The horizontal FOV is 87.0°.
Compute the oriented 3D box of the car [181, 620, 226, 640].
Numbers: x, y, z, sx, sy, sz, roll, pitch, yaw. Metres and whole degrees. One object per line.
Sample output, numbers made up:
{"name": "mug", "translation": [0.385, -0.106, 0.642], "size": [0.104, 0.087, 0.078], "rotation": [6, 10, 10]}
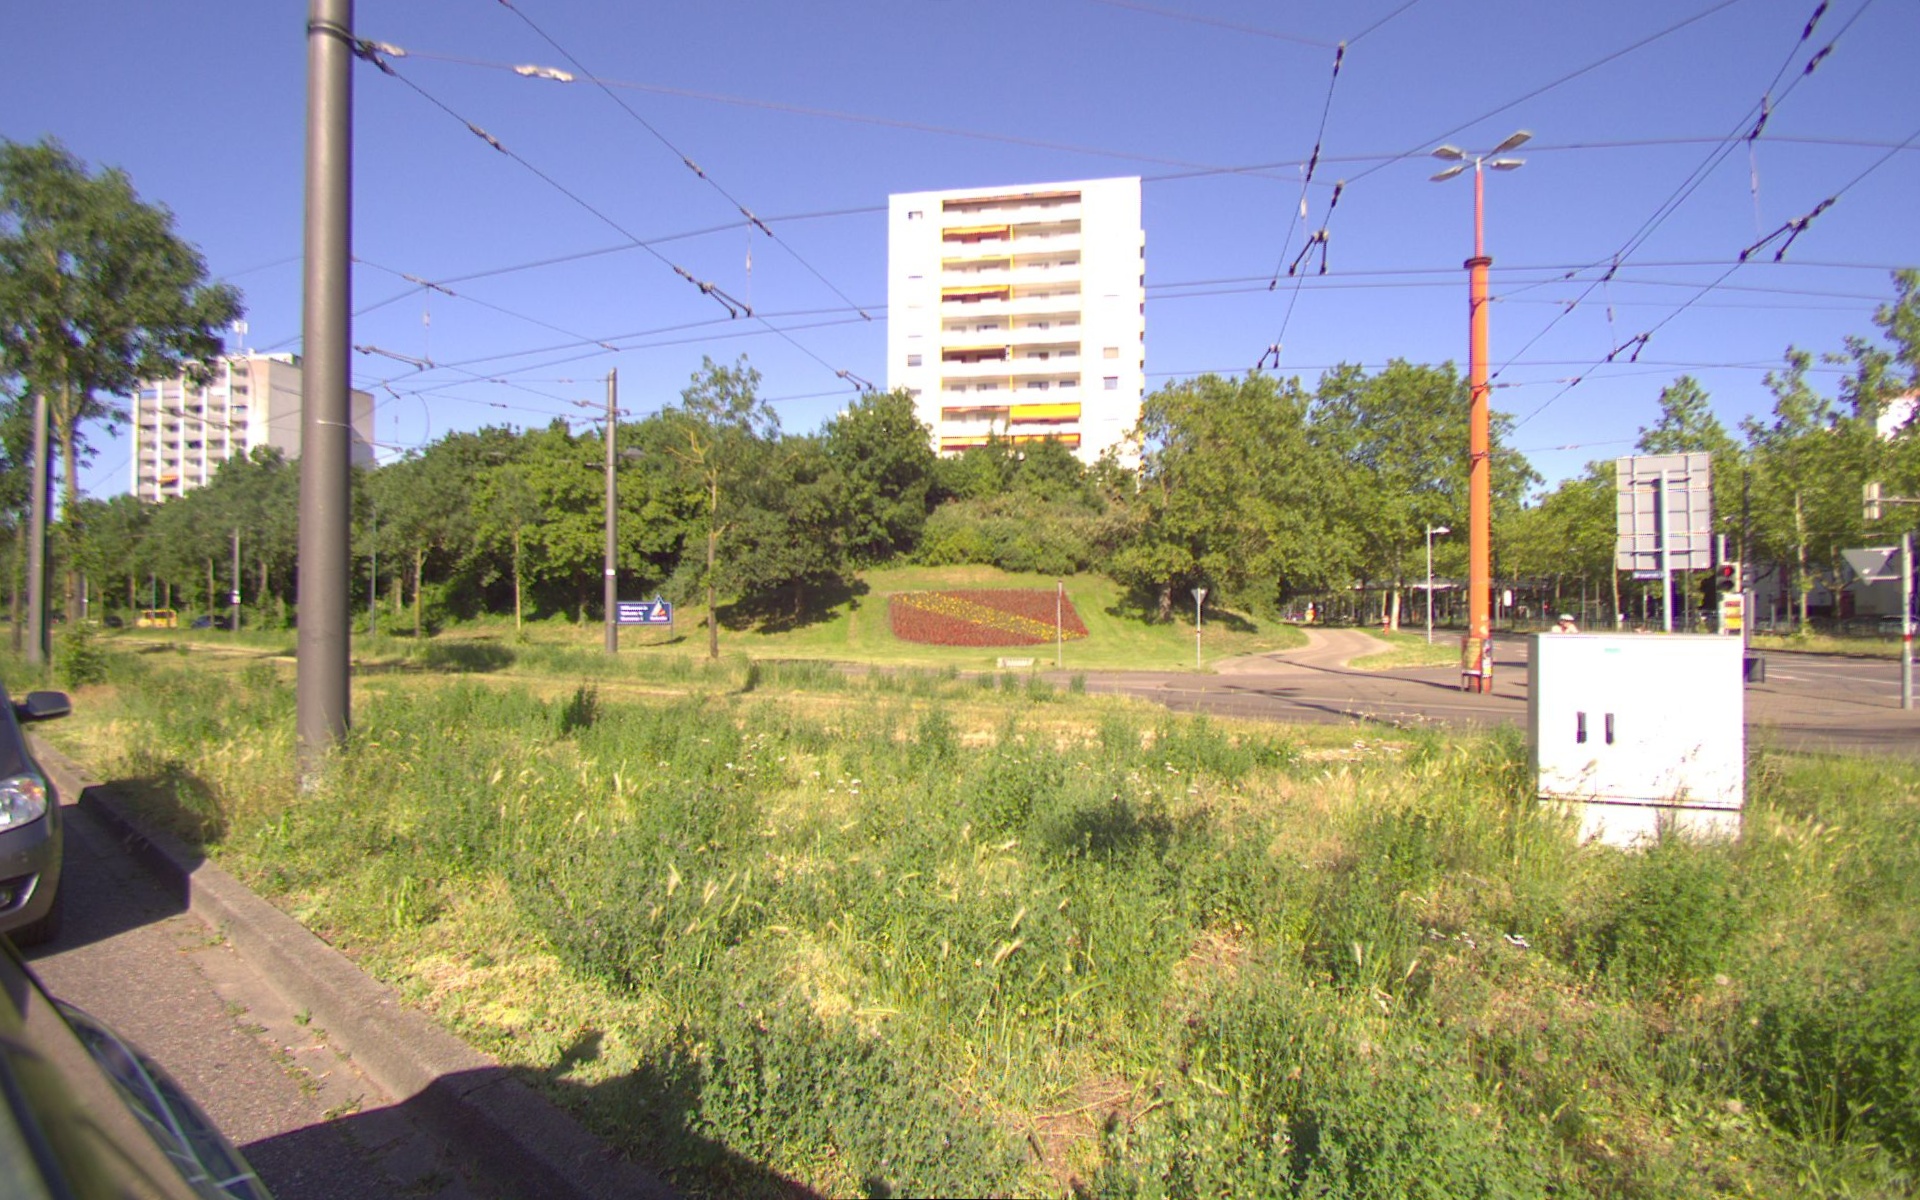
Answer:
{"name": "car", "translation": [-59.081, 2.331, 79.029], "size": [4.105, 1.586, 1.973], "rotation": [-1, -2, 41]}

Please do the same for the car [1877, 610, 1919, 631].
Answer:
{"name": "car", "translation": [64.887, 1.405, 68.407], "size": [1.770, 1.420, 4.010], "rotation": [1, -1, -36]}

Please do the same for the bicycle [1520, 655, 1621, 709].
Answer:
{"name": "bicycle", "translation": [12.192, 1.623, 20.266], "size": [0.673, 0.968, 1.650], "rotation": [0, -1, -20]}

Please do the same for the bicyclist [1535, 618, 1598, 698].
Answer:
{"name": "bicyclist", "translation": [12.169, 1.143, 20.326], "size": [0.719, 1.557, 0.770], "rotation": [0, -2, -20]}

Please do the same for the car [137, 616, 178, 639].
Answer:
{"name": "car", "translation": [-70.535, 2.432, 88.944], "size": [4.905, 1.981, 1.973], "rotation": [-1, -2, 41]}

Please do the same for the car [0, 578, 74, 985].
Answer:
{"name": "car", "translation": [-5.736, 0.749, 4.849], "size": [3.879, 1.634, 1.737], "rotation": [-1, -2, 41]}

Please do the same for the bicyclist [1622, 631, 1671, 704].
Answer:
{"name": "bicyclist", "translation": [13.402, 1.299, 19.760], "size": [0.435, 1.391, 0.631], "rotation": [0, -2, -20]}

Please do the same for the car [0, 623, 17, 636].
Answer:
{"name": "car", "translation": [-106.749, 3.287, 112.999], "size": [4.310, 1.427, 1.775], "rotation": [-1, -2, 43]}

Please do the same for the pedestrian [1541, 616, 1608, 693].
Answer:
{"name": "pedestrian", "translation": [14.655, 1.280, 24.151], "size": [0.940, 1.807, 0.989], "rotation": [0, -1, -3]}

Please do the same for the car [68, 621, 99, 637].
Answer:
{"name": "car", "translation": [-80.663, 2.687, 93.170], "size": [4.020, 1.418, 1.671], "rotation": [-2, -2, 42]}

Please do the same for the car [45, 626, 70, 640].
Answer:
{"name": "car", "translation": [-99.787, 3.616, 111.897], "size": [4.241, 1.519, 1.768], "rotation": [-2, -2, 44]}

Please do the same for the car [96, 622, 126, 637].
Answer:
{"name": "car", "translation": [-83.778, 2.918, 99.860], "size": [4.000, 1.386, 1.756], "rotation": [-1, -2, 43]}

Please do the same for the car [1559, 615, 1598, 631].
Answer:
{"name": "car", "translation": [79.729, 3.003, 130.490], "size": [3.969, 2.029, 1.987], "rotation": [-1, -1, 20]}

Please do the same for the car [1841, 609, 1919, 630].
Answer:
{"name": "car", "translation": [65.875, 1.383, 72.389], "size": [1.770, 1.420, 4.010], "rotation": [1, -1, -36]}
